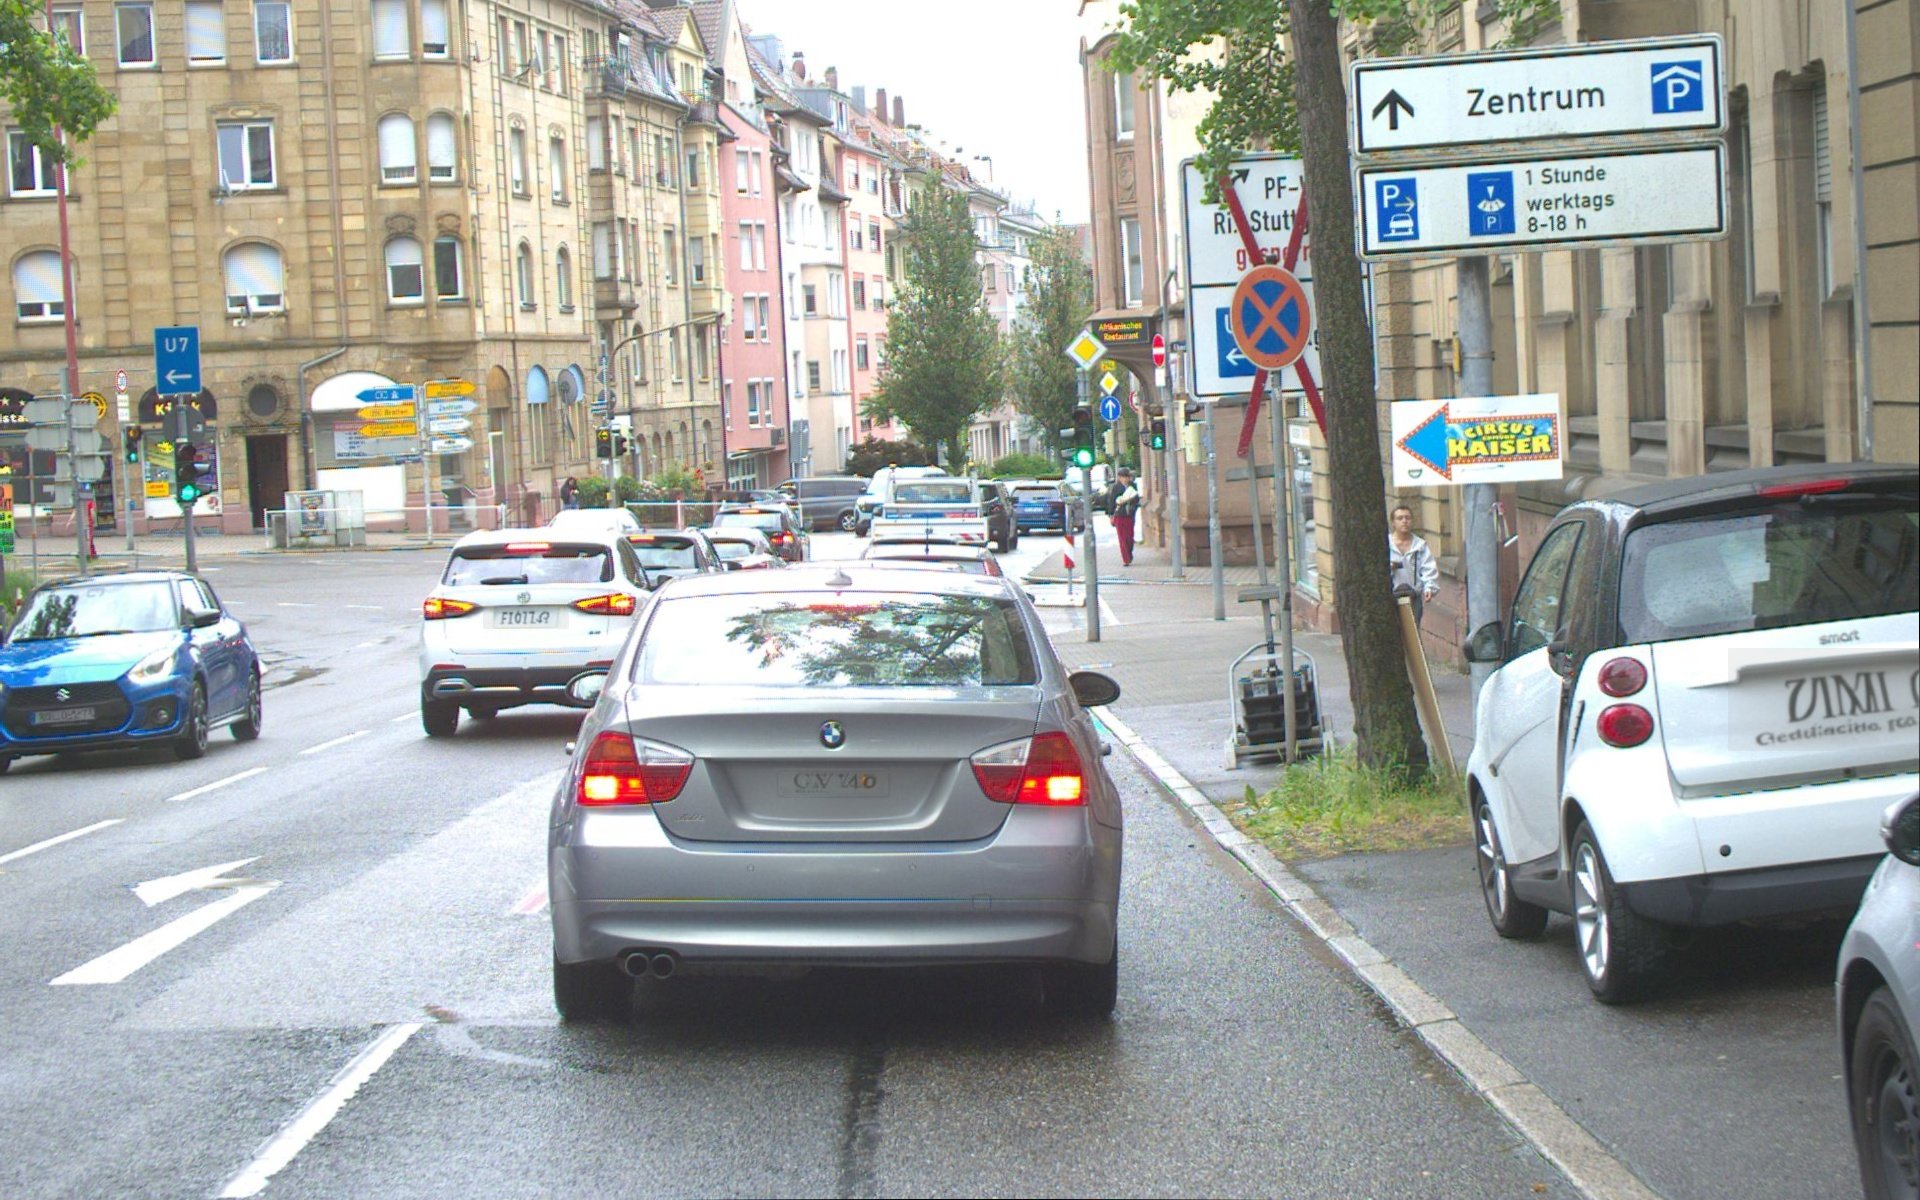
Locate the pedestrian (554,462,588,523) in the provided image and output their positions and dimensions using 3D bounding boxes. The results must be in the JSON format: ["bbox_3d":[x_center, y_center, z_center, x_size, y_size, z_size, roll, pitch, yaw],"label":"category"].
[{"bbox_3d":[-10.131,-2.806,89.597,0.732,1.572,0.528,-1,1,9],"label":"pedestrian"}]

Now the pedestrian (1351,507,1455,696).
[{"bbox_3d":[3.671,0.005,28.549,0.631,1.503,0.693,-5,1,-1],"label":"pedestrian"}]

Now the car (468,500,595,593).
[{"bbox_3d":[-7.883,-0.997,63.545,1.737,1.521,4.472,-4,1,-1],"label":"car"}]

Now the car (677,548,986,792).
[{"bbox_3d":[-0.738,0.380,22.071,1.759,1.378,4.000,0,1,1],"label":"car"}]

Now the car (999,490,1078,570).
[{"bbox_3d":[2.066,-1.798,89.876,1.725,2.007,3.999,1,0,6],"label":"car"}]

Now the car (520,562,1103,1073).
[{"bbox_3d":[-0.386,0.591,11.426,1.623,1.378,3.615,0,1,1],"label":"car"}]

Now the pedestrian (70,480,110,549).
[{"bbox_3d":[-20.024,-1.975,79.132,0.537,1.572,0.719,-1,1,23],"label":"pedestrian"}]

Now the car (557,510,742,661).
[{"bbox_3d":[-3.649,-0.210,40.990,1.759,1.702,4.000,0,1,1],"label":"car"}]

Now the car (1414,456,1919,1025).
[{"bbox_3d":[2.438,0.365,11.418,1.299,1.538,2.976,-6,1,0],"label":"car"}]

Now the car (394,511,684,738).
[{"bbox_3d":[-3.375,0.137,28.268,1.868,1.620,4.001,-2,2,-1],"label":"car"}]

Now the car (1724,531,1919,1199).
[{"bbox_3d":[2.510,0.575,4.970,1.759,1.446,4.000,-6,1,0],"label":"car"}]

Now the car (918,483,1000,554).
[{"bbox_3d":[0.006,-1.855,79.094,1.725,1.547,4.000,1,0,2],"label":"car"}]

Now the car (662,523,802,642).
[{"bbox_3d":[-3.379,-0.299,51.482,1.759,1.702,4.000,0,1,1],"label":"car"}]

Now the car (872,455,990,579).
[{"bbox_3d":[-0.506,-1.431,60.331,1.993,2.099,4.000,0,1,0],"label":"car"}]

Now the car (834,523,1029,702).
[{"bbox_3d":[-0.202,0.059,30.359,1.595,1.459,4.000,0,1,1],"label":"car"}]

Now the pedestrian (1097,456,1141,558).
[{"bbox_3d":[3.002,-1.758,65.075,0.742,1.903,0.659,-2,1,-1],"label":"pedestrian"}]

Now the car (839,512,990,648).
[{"bbox_3d":[-0.566,-0.283,42.373,1.759,1.562,4.001,-1,2,-1],"label":"car"}]

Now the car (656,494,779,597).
[{"bbox_3d":[-4.143,-0.951,59.284,1.759,1.702,4.000,0,1,1],"label":"car"}]

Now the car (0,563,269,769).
[{"bbox_3d":[-6.697,0.470,27.192,1.715,1.445,3.742,-1,1,-1],"label":"car"}]

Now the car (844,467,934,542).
[{"bbox_3d":[-1.864,-2.552,91.937,1.762,1.919,4.322,-1,1,7],"label":"car"}]

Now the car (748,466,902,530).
[{"bbox_3d":[-4.634,-3.508,118.592,5.176,2.007,2.699,1,0,0],"label":"car"}]
